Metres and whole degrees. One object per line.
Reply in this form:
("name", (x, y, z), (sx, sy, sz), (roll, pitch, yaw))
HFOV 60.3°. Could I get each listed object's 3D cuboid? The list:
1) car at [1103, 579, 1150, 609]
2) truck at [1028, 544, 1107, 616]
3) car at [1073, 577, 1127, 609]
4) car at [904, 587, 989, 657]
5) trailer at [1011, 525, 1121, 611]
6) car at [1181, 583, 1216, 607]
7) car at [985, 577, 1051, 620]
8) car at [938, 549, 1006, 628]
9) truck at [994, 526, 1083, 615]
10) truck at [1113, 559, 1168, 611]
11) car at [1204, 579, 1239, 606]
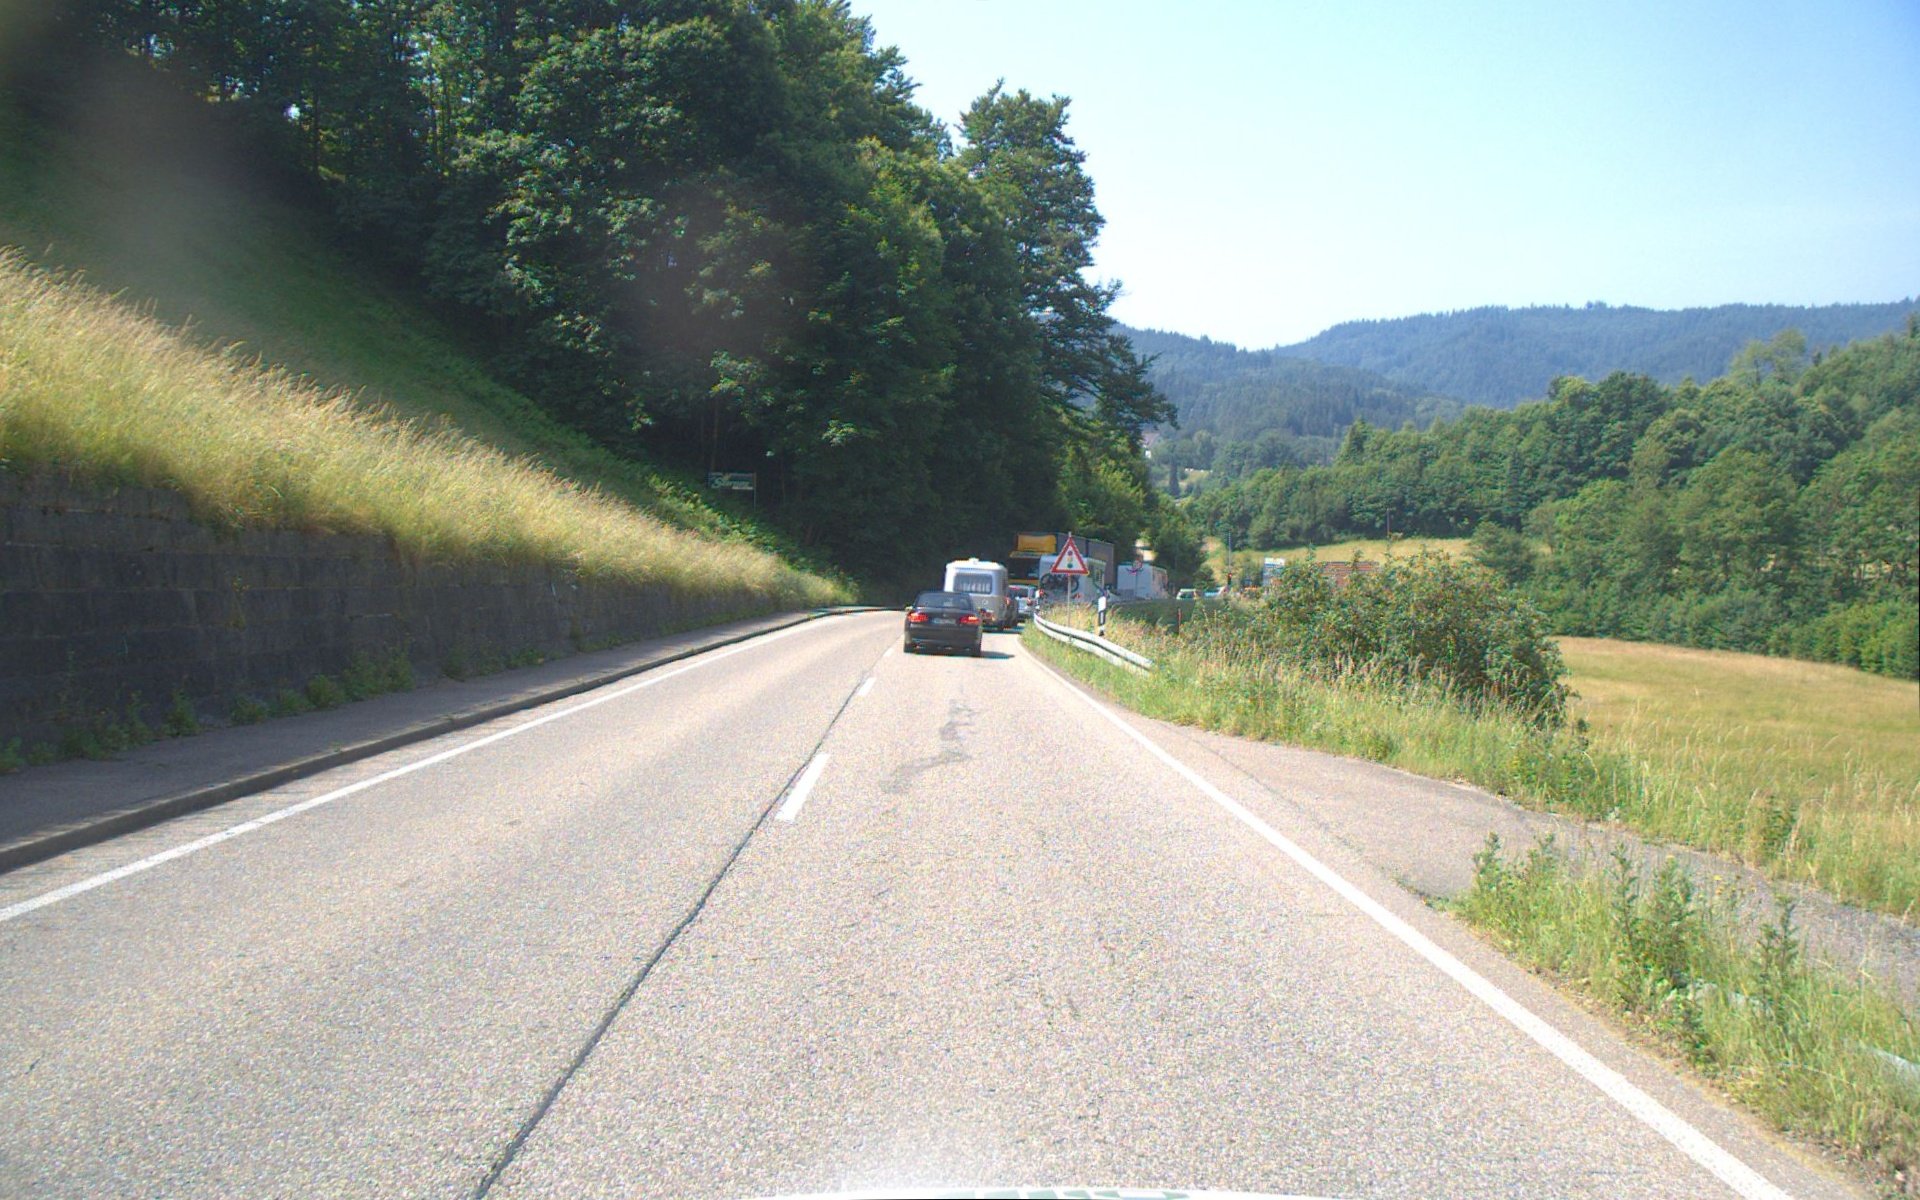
("car", (9.559, -0.342, 94.725), (1.751, 1.489, 4.002), (5, 2, 18))
("truck", (5.228, -0.974, 79.354), (2.732, 3.049, 6.874), (5, 2, 11))
("car", (7.457, -0.389, 87.514), (1.952, 1.489, 4.002), (5, 2, 17))
("car", (-0.312, 0.456, 37.085), (1.735, 1.359, 3.766), (3, 1, -1))
("trailer", (6.466, -1.813, 97.417), (3.191, 4.493, 15.327), (3, 1, 15))
("car", (17.806, -0.361, 123.312), (1.867, 1.512, 4.001), (4, 0, 18))
("car", (2.396, -0.066, 67.077), (1.952, 1.509, 4.003), (5, 1, 11))
("car", (0.449, -0.437, 54.820), (1.952, 2.393, 4.916), (3, 2, 3))
("truck", (4.331, -1.593, 89.692), (3.122, 4.472, 6.576), (4, 2, 16))
("truck", (11.110, -0.892, 101.379), (2.190, 2.852, 6.236), (3, 0, 15))
("car", (20.953, -0.576, 132.487), (1.953, 1.958, 4.001), (5, 2, 20))
